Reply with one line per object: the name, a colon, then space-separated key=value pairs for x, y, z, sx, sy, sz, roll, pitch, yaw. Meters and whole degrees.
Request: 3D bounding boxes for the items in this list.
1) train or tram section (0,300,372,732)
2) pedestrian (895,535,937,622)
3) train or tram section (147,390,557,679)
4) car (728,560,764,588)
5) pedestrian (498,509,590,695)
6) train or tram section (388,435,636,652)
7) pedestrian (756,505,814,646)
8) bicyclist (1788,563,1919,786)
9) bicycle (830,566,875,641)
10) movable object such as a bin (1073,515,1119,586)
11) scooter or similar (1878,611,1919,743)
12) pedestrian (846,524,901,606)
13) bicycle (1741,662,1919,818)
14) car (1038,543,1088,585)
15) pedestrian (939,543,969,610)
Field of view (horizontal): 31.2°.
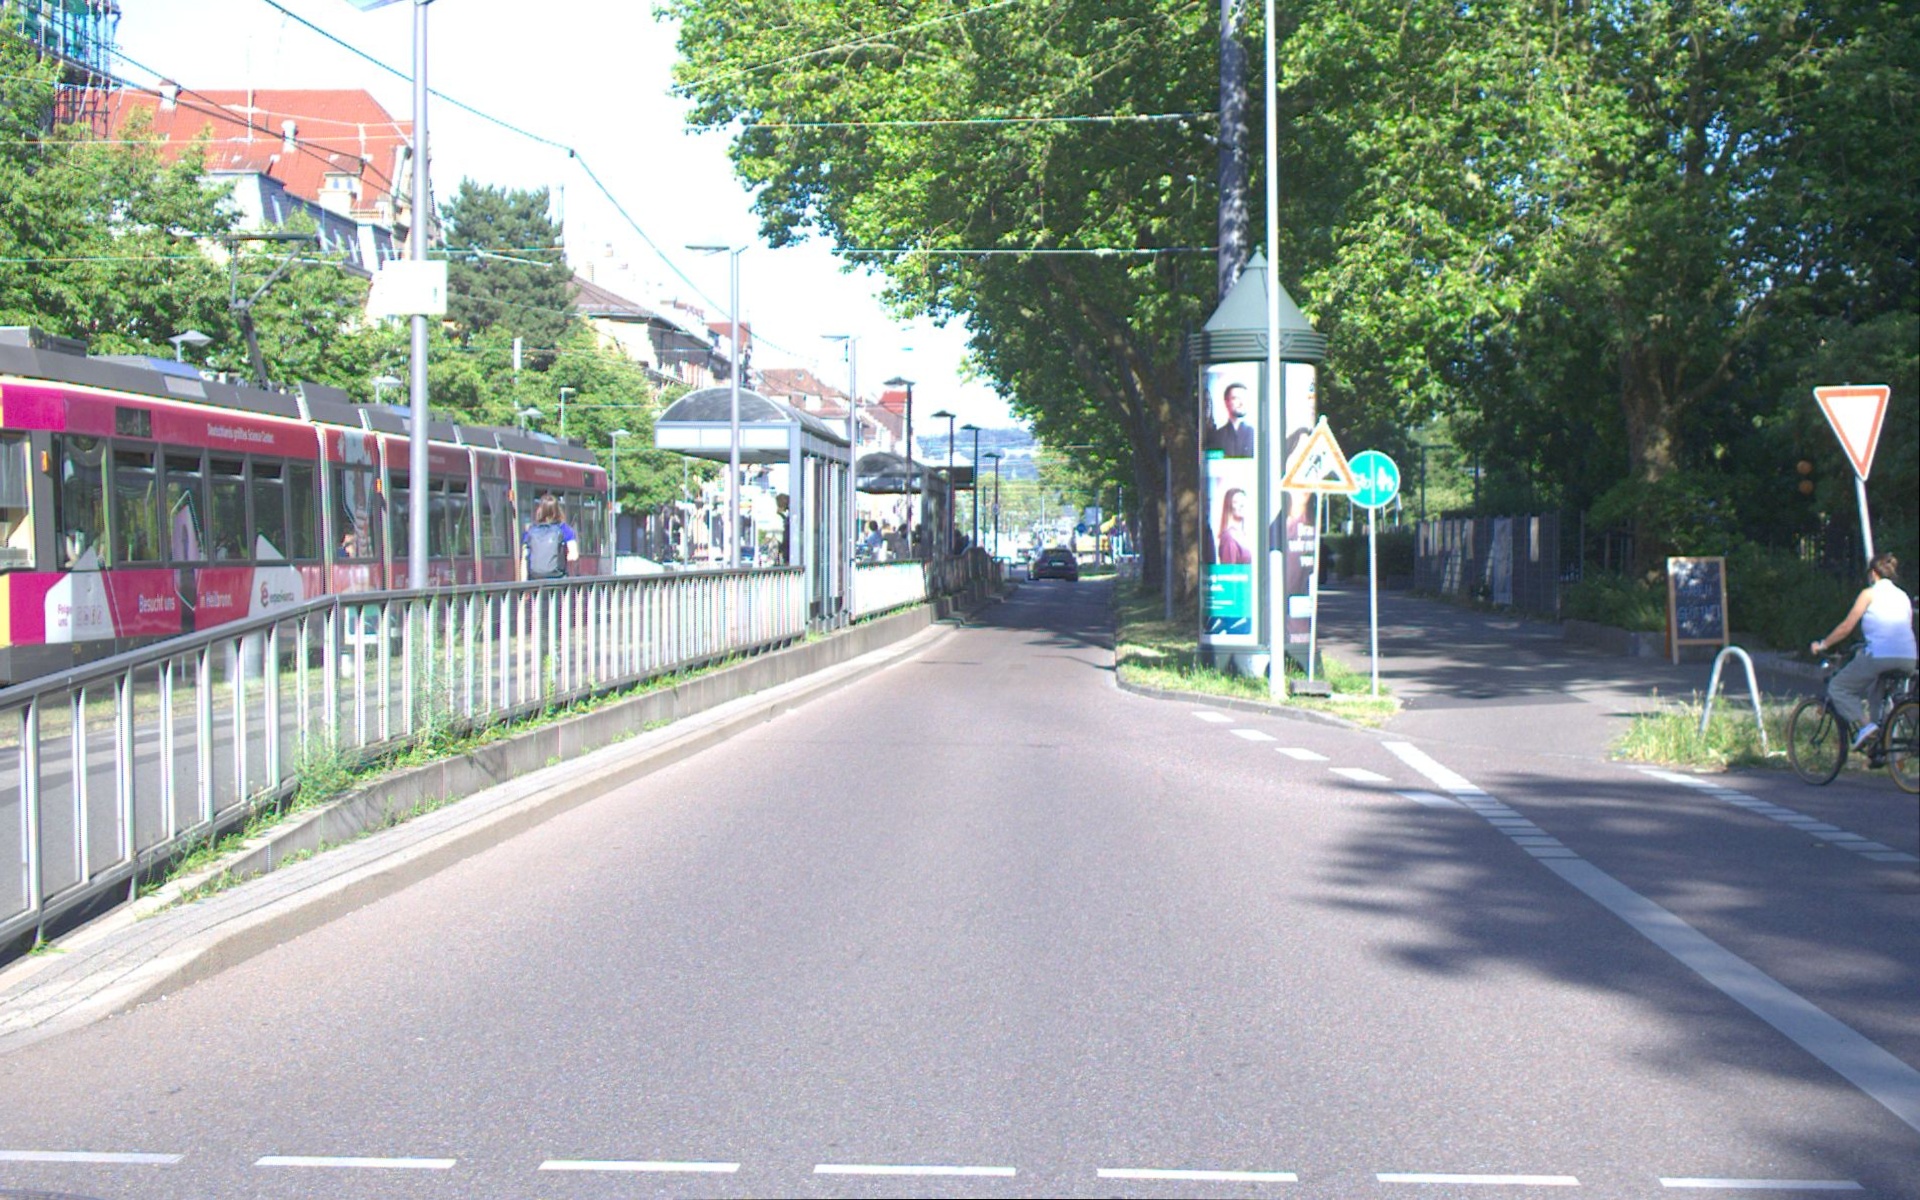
train or tram section: x=-9.240 y=-0.773 z=36.493 sx=2.870 sy=3.663 sz=14.559 roll=0 pitch=0 yaw=3
pedestrian: x=-0.901 y=-0.434 z=70.695 sx=0.765 sy=1.752 sz=0.695 roll=2 pitch=0 yaw=2
train or tram section: x=-8.594 y=-0.895 z=51.021 sx=2.870 sy=3.673 sz=14.559 roll=0 pitch=0 yaw=3
car: x=-15.050 y=-1.845 z=242.133 sx=2.015 sy=1.748 sz=4.558 roll=2 pitch=2 yaw=2
pedestrian: x=-3.682 y=0.011 z=30.506 sx=0.629 sy=1.604 sz=0.982 roll=2 pitch=0 yaw=1
train or tram section: x=-8.060 y=-0.997 z=63.127 sx=2.870 sy=3.673 sz=9.683 roll=0 pitch=0 yaw=3
pedestrian: x=-2.400 y=-0.334 z=47.289 sx=0.669 sy=1.896 sz=0.824 roll=2 pitch=0 yaw=2
bicyclist: x=6.417 y=0.513 z=24.405 sx=0.603 sy=1.545 sz=0.860 roll=0 pitch=0 yaw=-34
bicycle: x=-1.683 y=0.042 z=54.045 sx=0.513 sy=1.129 sz=2.103 roll=2 pitch=1 yaw=2
movable object such as a bin: x=10.064 y=-3.644 z=255.019 sx=3.087 sy=5.071 sz=8.891 roll=-2 pitch=0 yaw=2
scooter or similar: x=9.381 y=0.733 z=33.361 sx=0.560 sy=1.253 sz=1.290 roll=-1 pitch=0 yaw=-1
pedestrian: x=-1.842 y=-0.747 z=73.102 sx=0.907 sy=1.716 sz=0.631 roll=2 pitch=0 yaw=-31
bicycle: x=6.416 y=0.977 z=24.398 sx=0.603 sy=1.023 sz=1.766 roll=0 pitch=1 yaw=-34
car: x=4.338 y=-1.525 z=144.786 sx=1.994 sy=1.678 sz=4.000 roll=2 pitch=1 yaw=3
pedestrian: x=-0.150 y=-0.598 z=87.992 sx=0.679 sy=1.684 sz=0.894 roll=2 pitch=0 yaw=3
